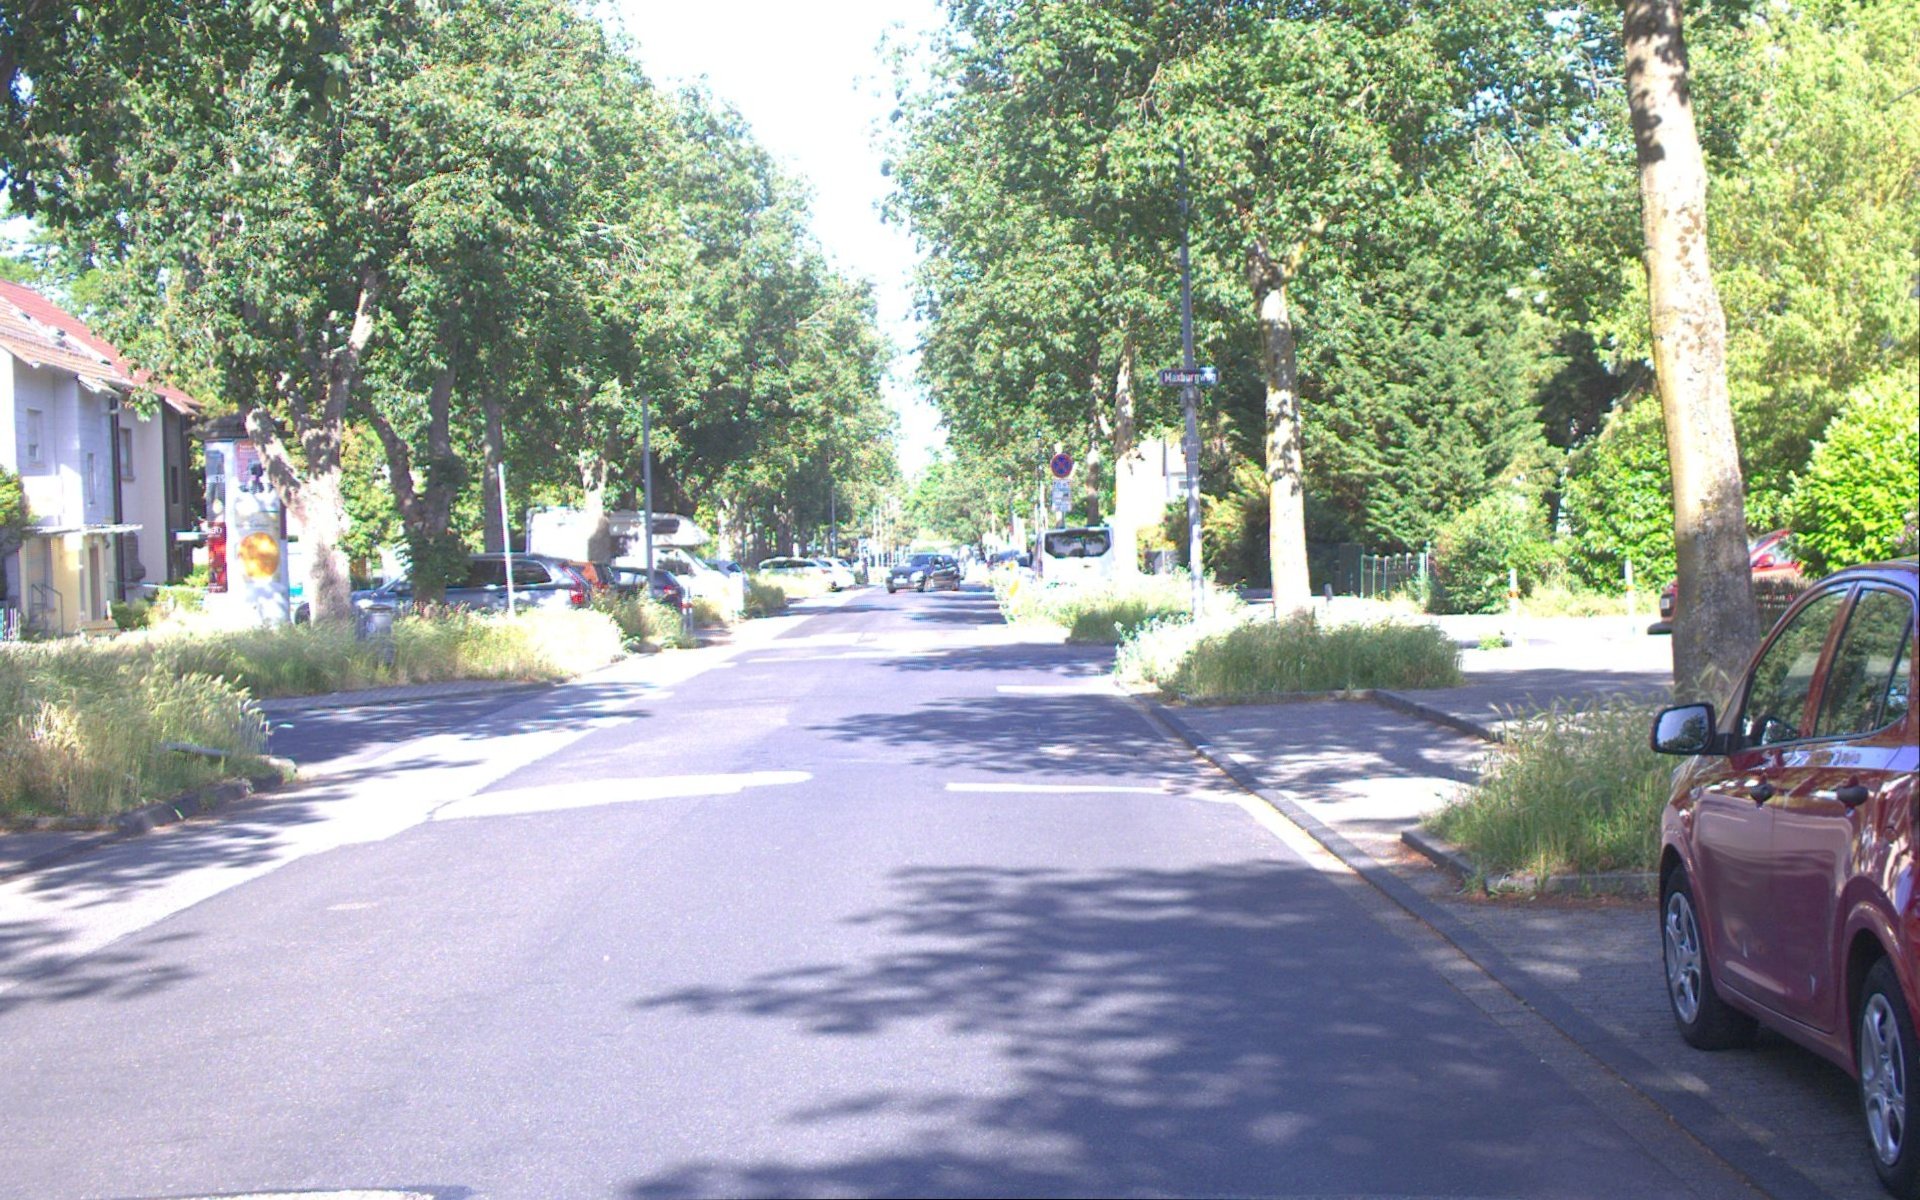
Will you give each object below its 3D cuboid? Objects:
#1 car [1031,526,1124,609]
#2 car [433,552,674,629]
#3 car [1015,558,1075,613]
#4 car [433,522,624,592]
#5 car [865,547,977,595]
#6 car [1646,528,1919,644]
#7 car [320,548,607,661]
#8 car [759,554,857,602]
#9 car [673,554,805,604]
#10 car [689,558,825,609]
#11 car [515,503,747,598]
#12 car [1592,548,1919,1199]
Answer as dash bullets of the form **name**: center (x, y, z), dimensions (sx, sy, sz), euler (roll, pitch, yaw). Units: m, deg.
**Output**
- **car**: center (2.547, -0.708, 75.450), dimensions (1.903, 1.768, 4.301), euler (0, 0, 0)
- **car**: center (-7.388, -0.188, 62.809), dimensions (4.286, 1.310, 1.909), euler (0, 2, -5)
- **car**: center (2.803, -0.484, 113.777), dimensions (1.903, 1.768, 4.301), euler (0, 0, 0)
- **car**: center (-9.425, -0.942, 75.261), dimensions (3.875, 1.474, 1.894), euler (1, 1, 3)
- **car**: center (-1.444, -1.096, 128.664), dimensions (1.999, 1.638, 3.990), euler (2, 3, 44)
- **car**: center (12.329, -0.220, 50.054), dimensions (4.287, 1.603, 2.000), euler (0, 2, 1)
- **car**: center (-8.152, 0.054, 56.796), dimensions (4.545, 1.759, 2.001), euler (0, 2, -5)
- **car**: center (-6.523, -0.959, 147.630), dimensions (3.987, 2.006, 2.000), euler (0, 2, 4)
- **car**: center (-6.515, -0.621, 101.393), dimensions (3.702, 1.441, 1.664), euler (0, 0, 4)
- **car**: center (-5.819, -0.464, 98.733), dimensions (3.702, 1.441, 1.664), euler (0, 0, 4)
- **car**: center (-8.048, -1.238, 84.605), dimensions (5.498, 2.240, 2.517), euler (0, 2, -1)
- **car**: center (2.916, 0.596, 9.201), dimensions (1.697, 1.474, 3.888), euler (-3, 0, 1)
